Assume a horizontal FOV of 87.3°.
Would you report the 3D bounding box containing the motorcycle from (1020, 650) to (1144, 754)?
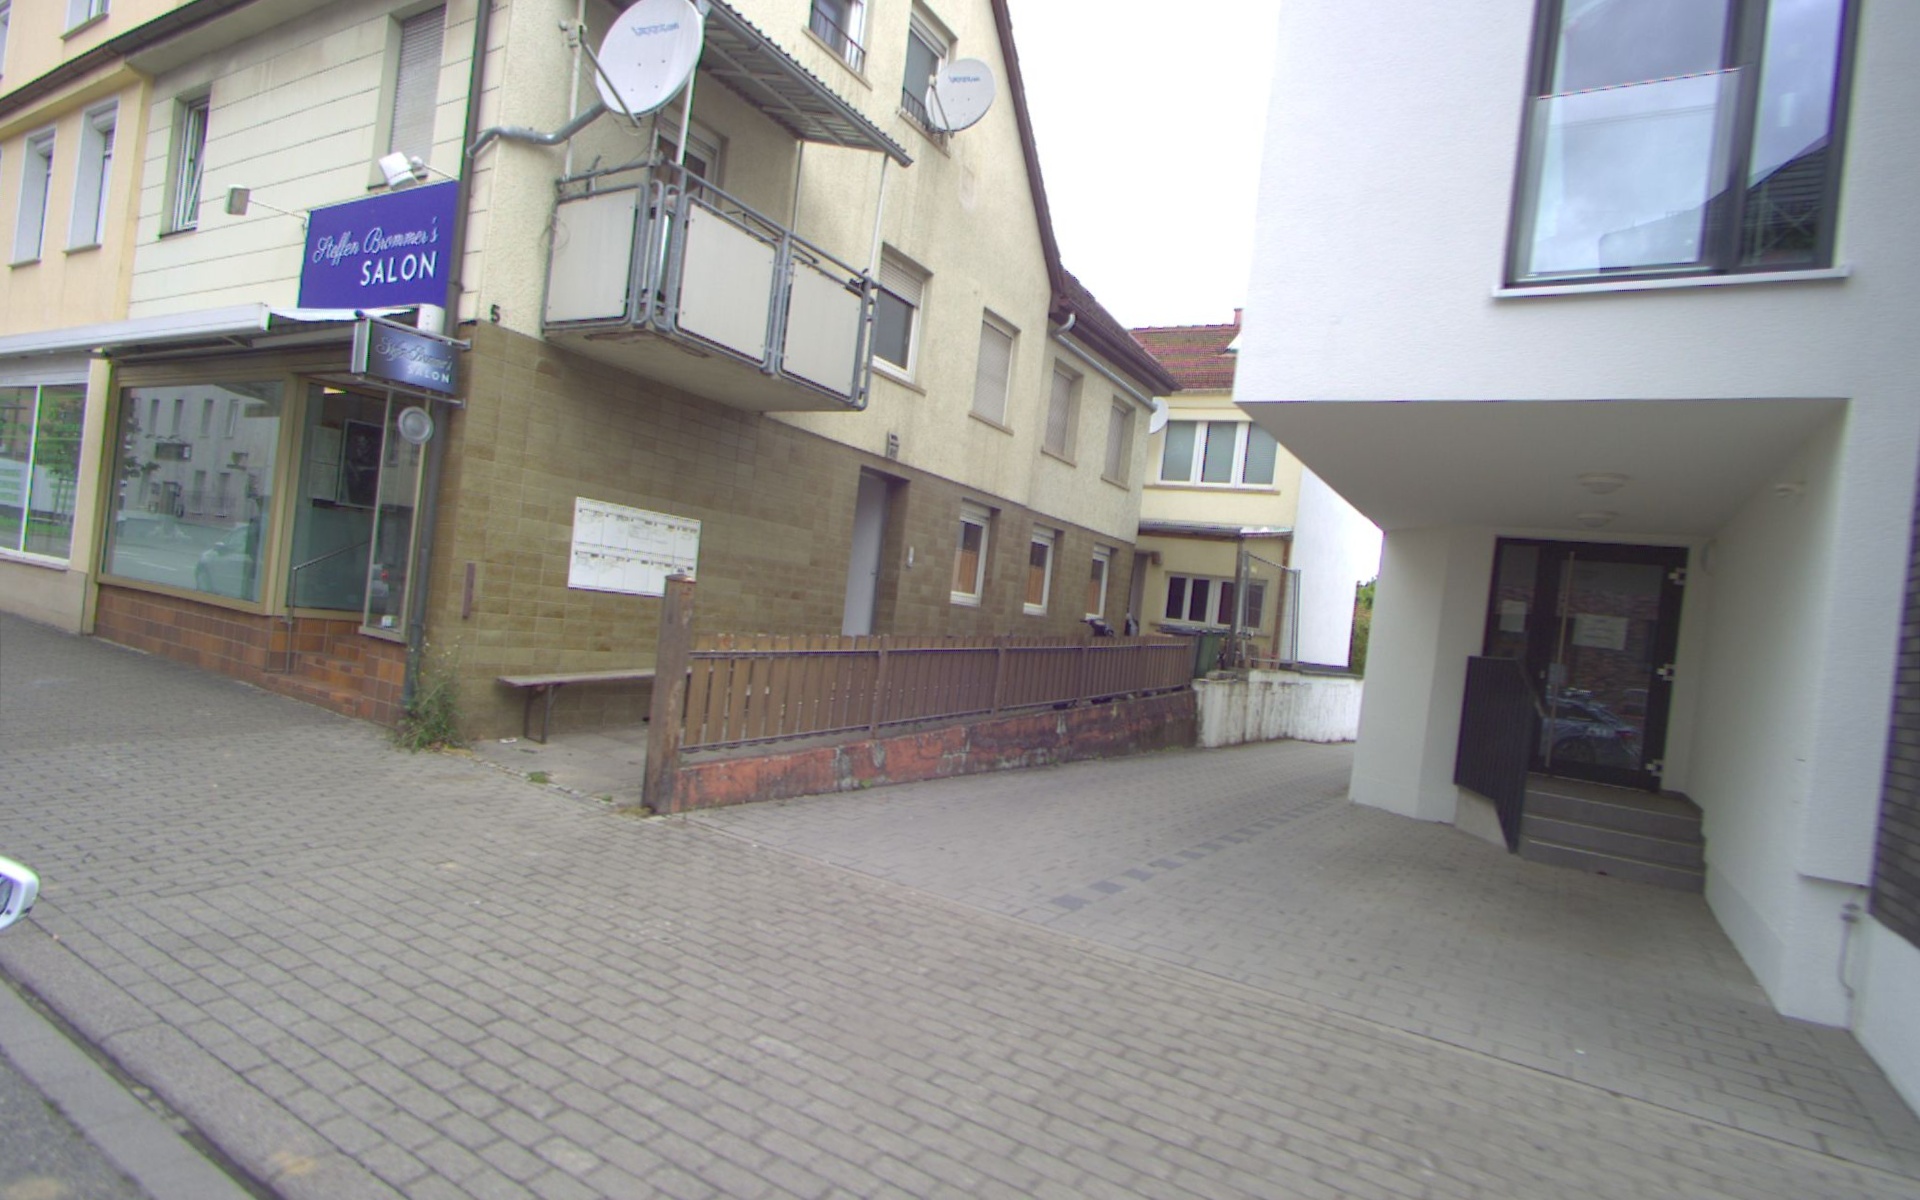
[{"bbox_3d":[1.603,1.259,12.786,0.527,1.148,2.336,7,0,32],"label":"motorcycle"}]
